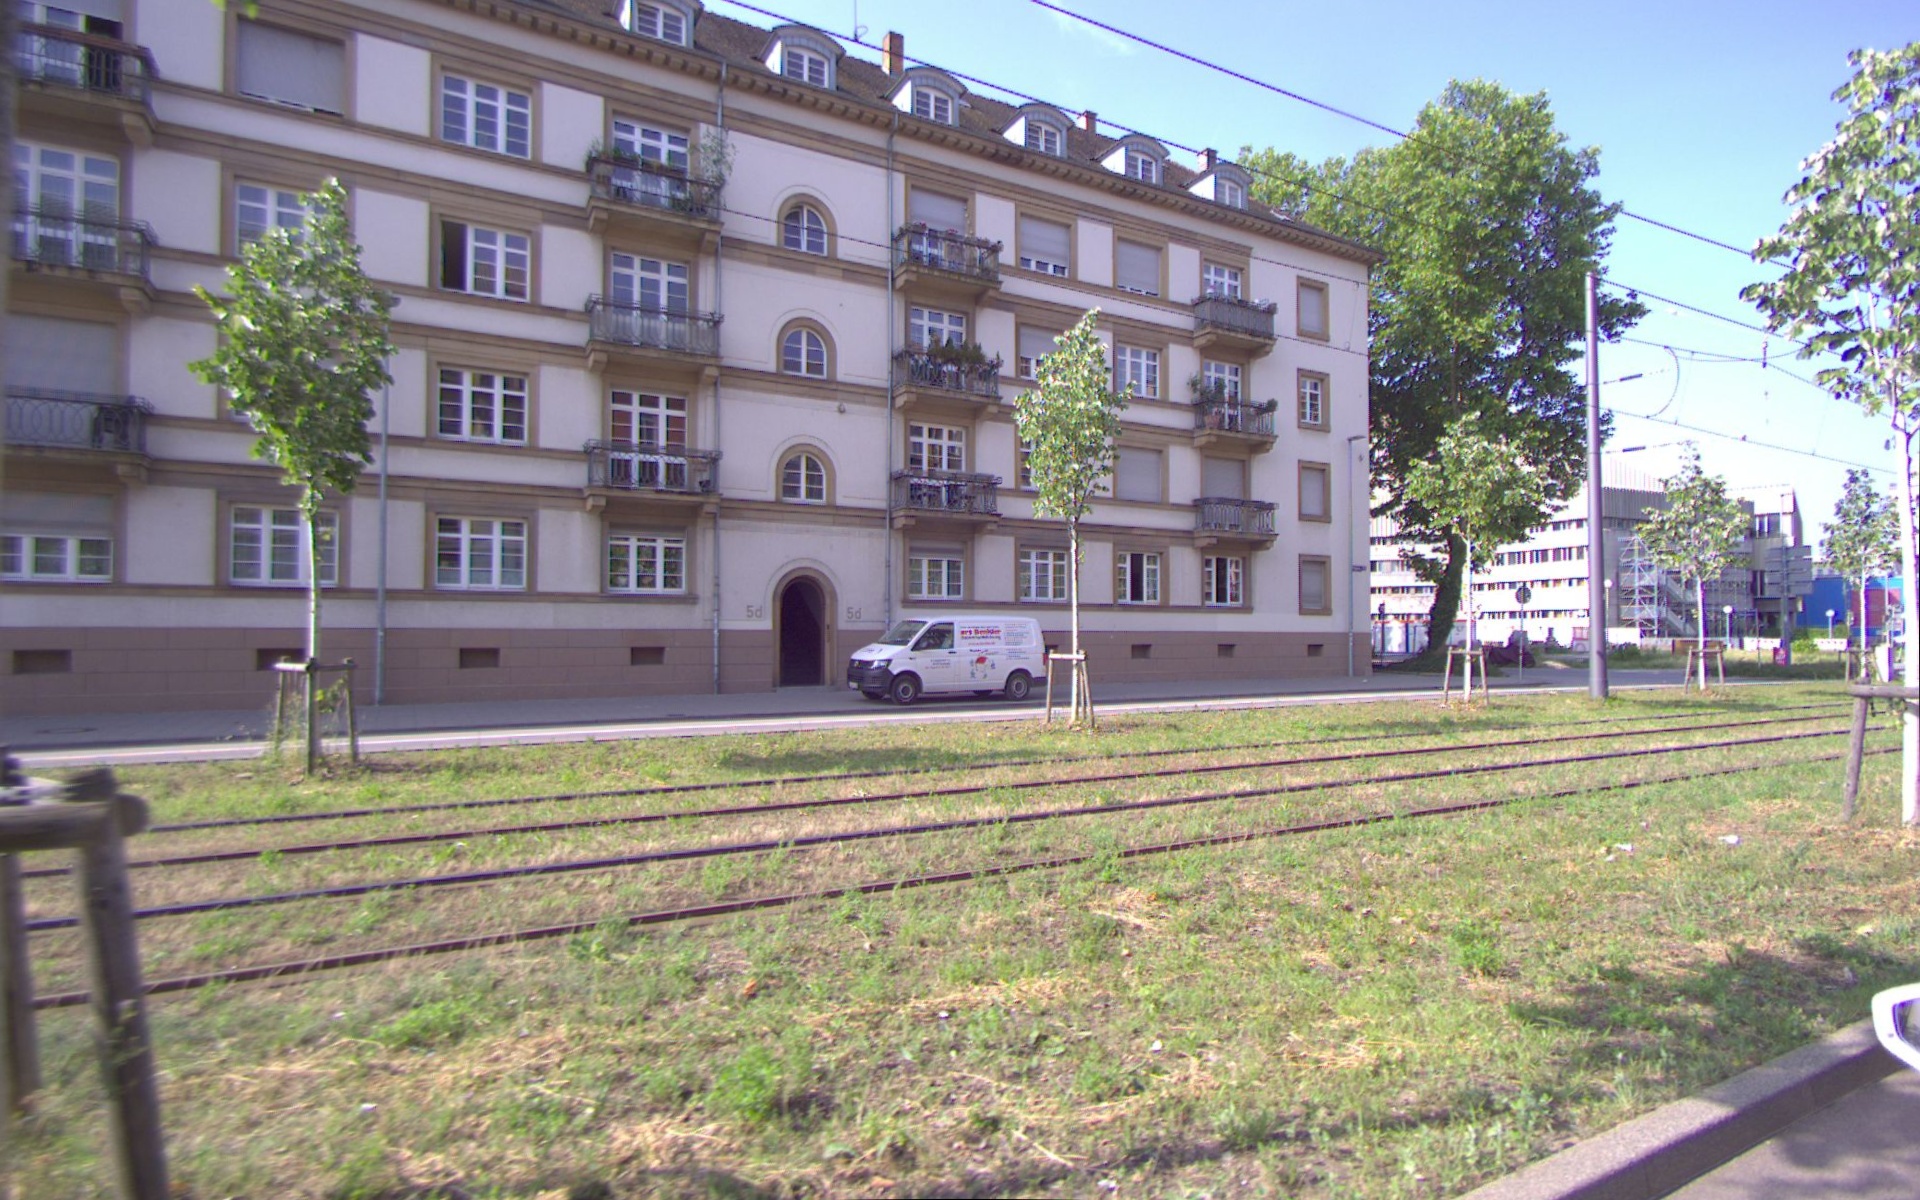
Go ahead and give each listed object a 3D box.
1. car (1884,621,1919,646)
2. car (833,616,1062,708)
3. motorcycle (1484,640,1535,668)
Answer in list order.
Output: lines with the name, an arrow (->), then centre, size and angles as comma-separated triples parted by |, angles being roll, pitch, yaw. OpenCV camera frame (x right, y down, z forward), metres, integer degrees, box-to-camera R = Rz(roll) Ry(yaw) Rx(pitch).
car -> 104.571, 3.697, 108.565 | 6.793, 2.674, 2.502 | 2, 0, 40
car -> -0.248, 1.378, 23.646 | 5.091, 1.943, 1.984 | 1, 0, -30
motorcycle -> 28.649, 2.803, 52.373 | 2.253, 1.387, 0.818 | -1, -2, 24
